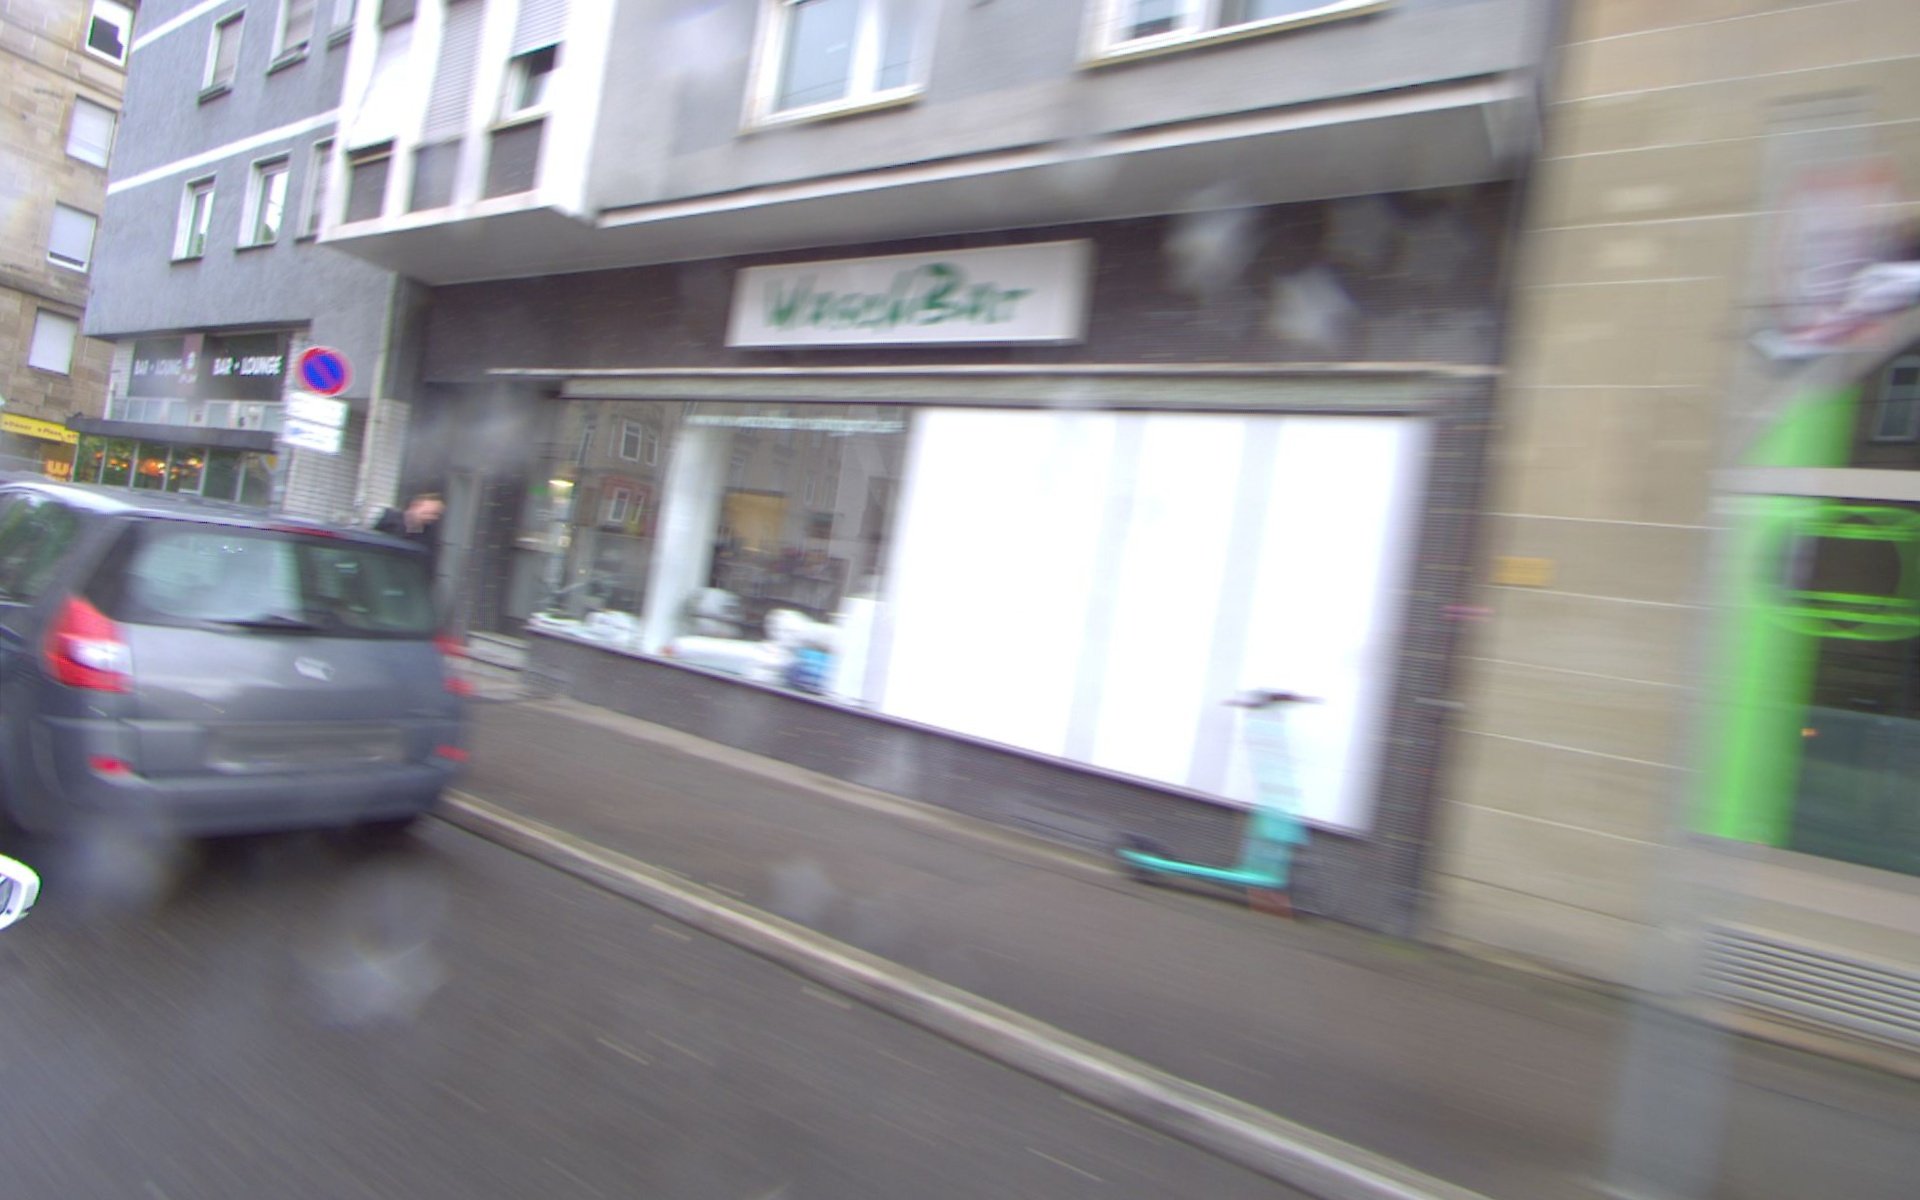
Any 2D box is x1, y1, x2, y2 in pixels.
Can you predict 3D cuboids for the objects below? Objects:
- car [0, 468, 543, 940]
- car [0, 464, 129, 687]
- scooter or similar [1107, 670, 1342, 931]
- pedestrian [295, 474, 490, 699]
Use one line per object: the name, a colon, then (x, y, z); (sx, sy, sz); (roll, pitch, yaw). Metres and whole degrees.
car: (-4.495, 0.213, 5.445); (4.670, 1.577, 1.767); (7, -1, 35)
car: (-9.065, -0.401, 8.700); (4.056, 1.690, 1.684); (7, 0, 34)
scooter or similar: (1.504, 1.096, 5.774); (1.089, 1.231, 0.395); (8, 0, 33)
pedestrian: (-4.975, -0.106, 8.838); (0.998, 1.790, 0.946); (8, 0, 33)
